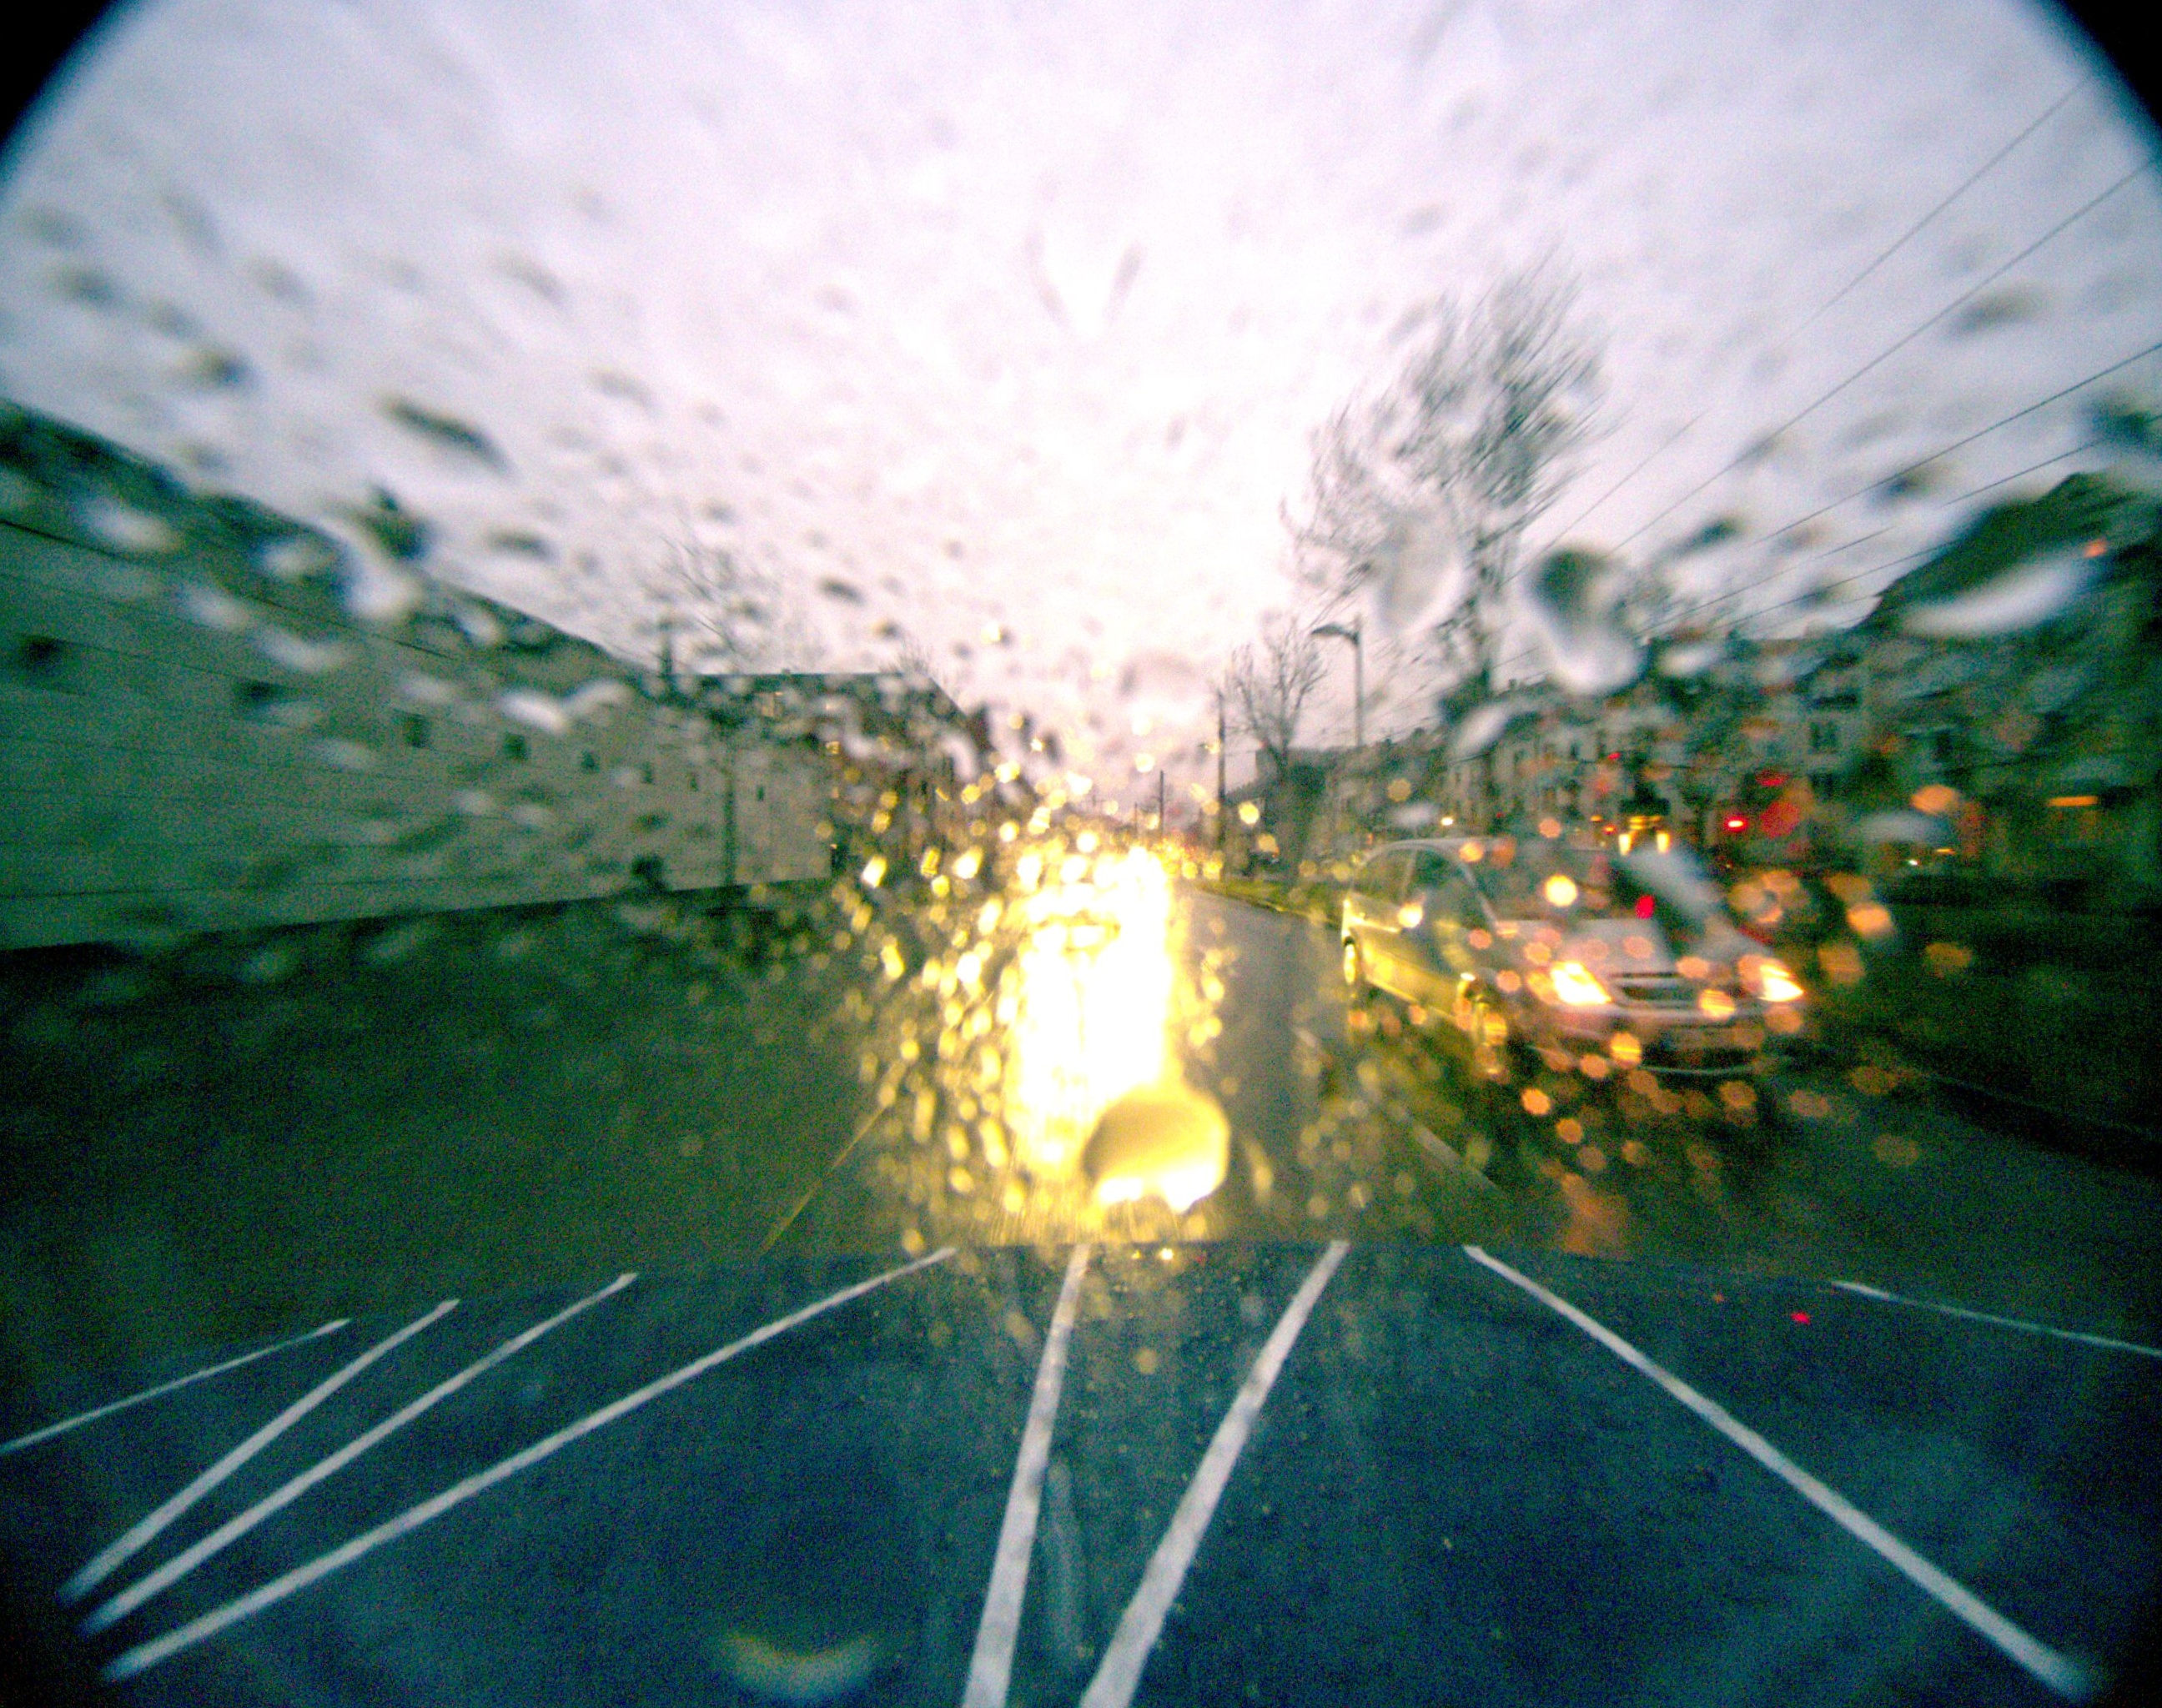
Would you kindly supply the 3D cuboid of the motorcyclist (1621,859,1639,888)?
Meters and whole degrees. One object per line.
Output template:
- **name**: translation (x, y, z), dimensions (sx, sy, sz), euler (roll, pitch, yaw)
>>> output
- **motorcyclist**: translation (20.690, 0.729, 28.624), dimensions (0.415, 1.055, 0.345), euler (-2, 1, 8)

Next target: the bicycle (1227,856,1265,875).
- **bicycle**: translation (8.129, 0.564, 37.438), dimensions (1.725, 0.893, 0.733), euler (1, 2, 1)

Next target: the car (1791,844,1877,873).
- **car**: translation (47.902, 0.302, 48.386), dimensions (3.591, 1.685, 1.731), euler (-2, 1, 7)

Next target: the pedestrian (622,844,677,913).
- **pedestrian**: translation (-10.507, 0.574, 18.530), dimensions (0.814, 1.621, 0.883), euler (1, 1, 0)

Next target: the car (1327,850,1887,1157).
- **car**: translation (3.352, 0.769, 5.880), dimensions (1.638, 1.511, 3.907), euler (-2, 1, 1)

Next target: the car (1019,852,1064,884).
- **car**: translation (-1.752, 0.592, 34.377), dimensions (1.736, 1.311, 3.803), euler (-2, 1, 1)

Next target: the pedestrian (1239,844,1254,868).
- **pedestrian**: translation (8.145, 0.093, 37.391), dimensions (0.562, 1.150, 0.582), euler (-2, 1, 3)

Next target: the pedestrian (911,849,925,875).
- **pedestrian**: translation (-10.264, 0.501, 47.845), dimensions (0.674, 1.639, 0.769), euler (1, 1, 0)

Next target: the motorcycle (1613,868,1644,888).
- **motorcycle**: translation (20.729, 0.899, 28.777), dimensions (0.422, 0.679, 1.176), euler (-2, 1, 8)

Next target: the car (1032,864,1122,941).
- **car**: translation (-0.051, 0.944, 16.358), dimensions (1.669, 1.325, 3.786), euler (-2, 1, 1)

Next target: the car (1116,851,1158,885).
- **car**: translation (2.689, 0.652, 36.913), dimensions (1.905, 1.475, 3.656), euler (-2, 1, 3)

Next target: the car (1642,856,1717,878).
- **car**: translation (34.672, 0.729, 44.069), dimensions (3.327, 1.131, 1.254), euler (-2, 1, 0)

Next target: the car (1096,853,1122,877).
- **car**: translation (1.745, 0.672, 48.518), dimensions (1.538, 1.347, 3.546), euler (-2, 1, 1)

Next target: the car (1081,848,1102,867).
- **car**: translation (1.001, 0.309, 70.594), dimensions (1.802, 1.674, 3.805), euler (-2, 1, 1)
